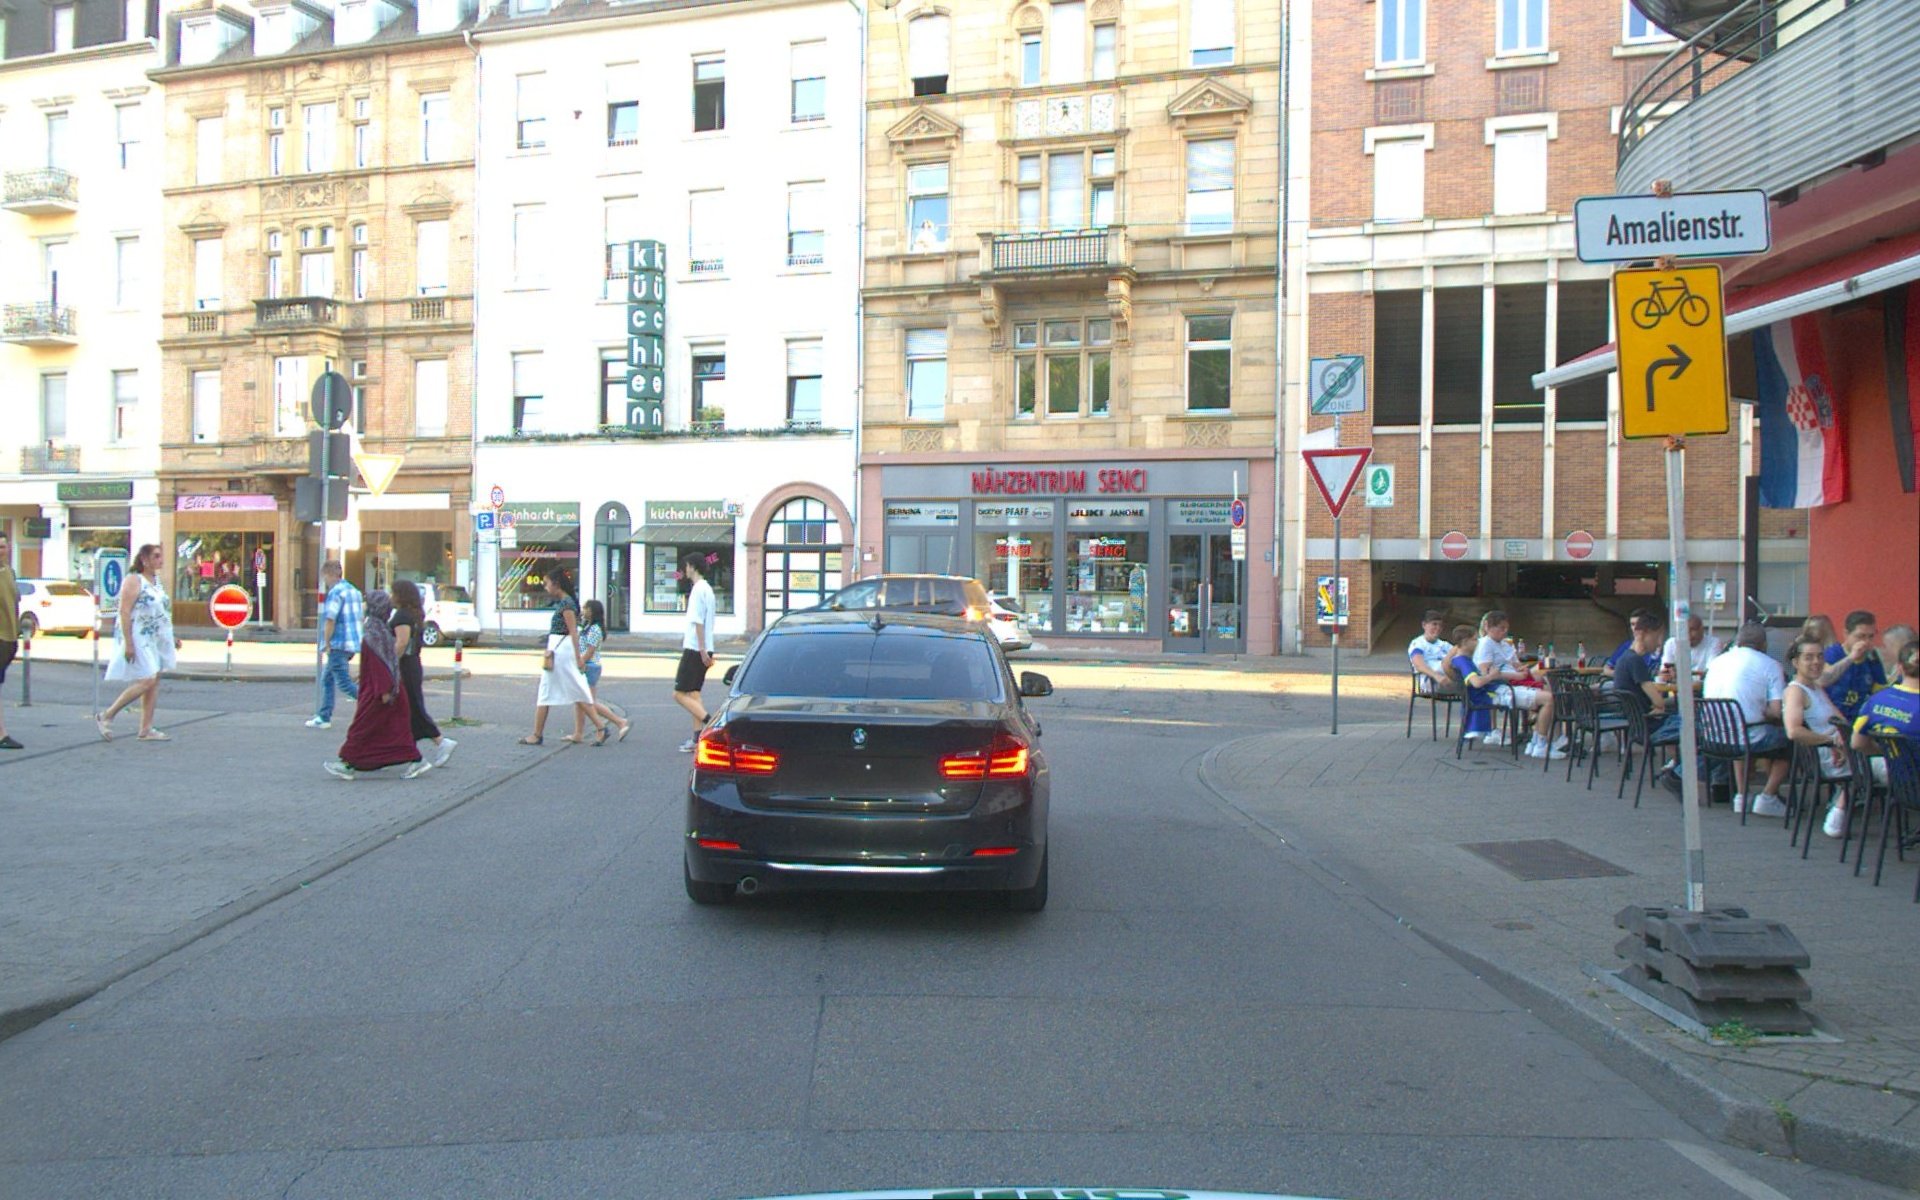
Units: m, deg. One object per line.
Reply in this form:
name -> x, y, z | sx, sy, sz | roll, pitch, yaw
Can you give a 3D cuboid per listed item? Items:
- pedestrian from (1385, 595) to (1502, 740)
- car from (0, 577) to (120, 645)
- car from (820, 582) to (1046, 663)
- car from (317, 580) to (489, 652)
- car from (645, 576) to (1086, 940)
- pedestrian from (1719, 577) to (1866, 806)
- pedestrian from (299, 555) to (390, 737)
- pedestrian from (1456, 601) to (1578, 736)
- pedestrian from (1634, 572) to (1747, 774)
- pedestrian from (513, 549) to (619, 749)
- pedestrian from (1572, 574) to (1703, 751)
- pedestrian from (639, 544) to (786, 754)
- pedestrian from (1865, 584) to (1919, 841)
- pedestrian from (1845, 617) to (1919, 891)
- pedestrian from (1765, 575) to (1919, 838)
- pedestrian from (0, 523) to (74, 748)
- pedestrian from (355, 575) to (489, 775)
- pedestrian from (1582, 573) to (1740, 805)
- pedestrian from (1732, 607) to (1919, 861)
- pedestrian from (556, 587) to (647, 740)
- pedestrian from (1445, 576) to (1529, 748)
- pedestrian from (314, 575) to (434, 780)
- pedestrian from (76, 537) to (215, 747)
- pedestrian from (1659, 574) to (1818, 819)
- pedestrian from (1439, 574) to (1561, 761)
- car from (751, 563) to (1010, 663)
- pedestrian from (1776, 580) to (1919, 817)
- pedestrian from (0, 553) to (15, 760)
pedestrian -> 4.825, 0.655, 16.533 | 0.760, 1.406, 0.831 | 0, -1, -29
car -> -23.498, 0.236, 41.545 | 4.132, 1.544, 1.817 | 2, 0, 16
car -> -0.583, 0.467, 36.614 | 4.570, 1.562, 2.000 | 2, 0, 20
car -> -14.032, 0.375, 41.669 | 3.905, 1.612, 1.705 | 2, 1, 21
car -> -0.433, 0.696, 9.131 | 1.850, 1.518, 4.203 | 1, -1, -1
pedestrian -> 5.911, 0.627, 11.765 | 0.660, 1.563, 0.654 | -1, 0, -6
pedestrian -> -6.200, 0.453, 16.649 | 0.679, 1.776, 0.708 | 2, 0, -32
pedestrian -> 5.600, 0.680, 16.661 | 0.676, 1.304, 0.959 | 1, -2, -28
pedestrian -> 5.931, 0.571, 13.418 | 0.736, 1.563, 0.647 | 2, 0, 29
pedestrian -> -3.876, 0.467, 16.241 | 0.771, 1.908, 0.707 | 2, 0, -32
pedestrian -> 6.244, 0.557, 15.246 | 0.707, 1.563, 0.842 | 2, 0, -38
pedestrian -> -2.324, 0.442, 15.569 | 0.873, 1.885, 0.981 | 2, 0, 37
pedestrian -> 5.762, 0.638, 9.631 | 0.652, 1.459, 0.560 | -1, 0, -6
pedestrian -> 5.071, 0.753, 8.383 | 0.857, 1.329, 0.853 | -1, -1, 16
pedestrian -> 5.615, 0.641, 10.277 | 0.834, 1.563, 0.679 | 2, 0, -7
pedestrian -> -8.352, 0.290, 14.377 | 0.698, 1.909, 0.851 | 2, 0, 26
pedestrian -> -4.532, 0.614, 13.928 | 0.793, 1.610, 0.718 | 2, 0, -45
pedestrian -> 4.990, 0.608, 11.806 | 0.699, 1.562, 0.758 | -3, 1, -7
pedestrian -> 4.954, 0.735, 9.490 | 0.640, 1.368, 0.748 | -1, 0, -6
pedestrian -> -3.667, 0.640, 16.898 | 0.707, 1.512, 0.597 | 2, 0, -33
pedestrian -> 4.900, 0.562, 15.415 | 0.697, 1.563, 0.690 | 0, 0, 14
pedestrian -> -4.660, 0.602, 13.161 | 0.675, 1.569, 0.583 | 2, 0, -45
pedestrian -> -7.401, 0.367, 15.035 | 0.701, 1.834, 0.878 | 2, 0, 41
pedestrian -> 5.187, 0.620, 11.048 | 0.636, 1.554, 0.699 | -3, 1, -7
pedestrian -> 4.765, 0.578, 14.638 | 0.698, 1.562, 0.853 | -3, 0, -2
car -> -1.498, 0.207, 31.722 | 4.505, 1.681, 2.099 | 2, 2, 15
pedestrian -> 6.058, 0.637, 11.077 | 0.752, 1.530, 0.782 | 1, 0, -6
pedestrian -> -8.370, 0.444, 13.571 | 0.864, 1.698, 0.712 | 2, 0, 33
